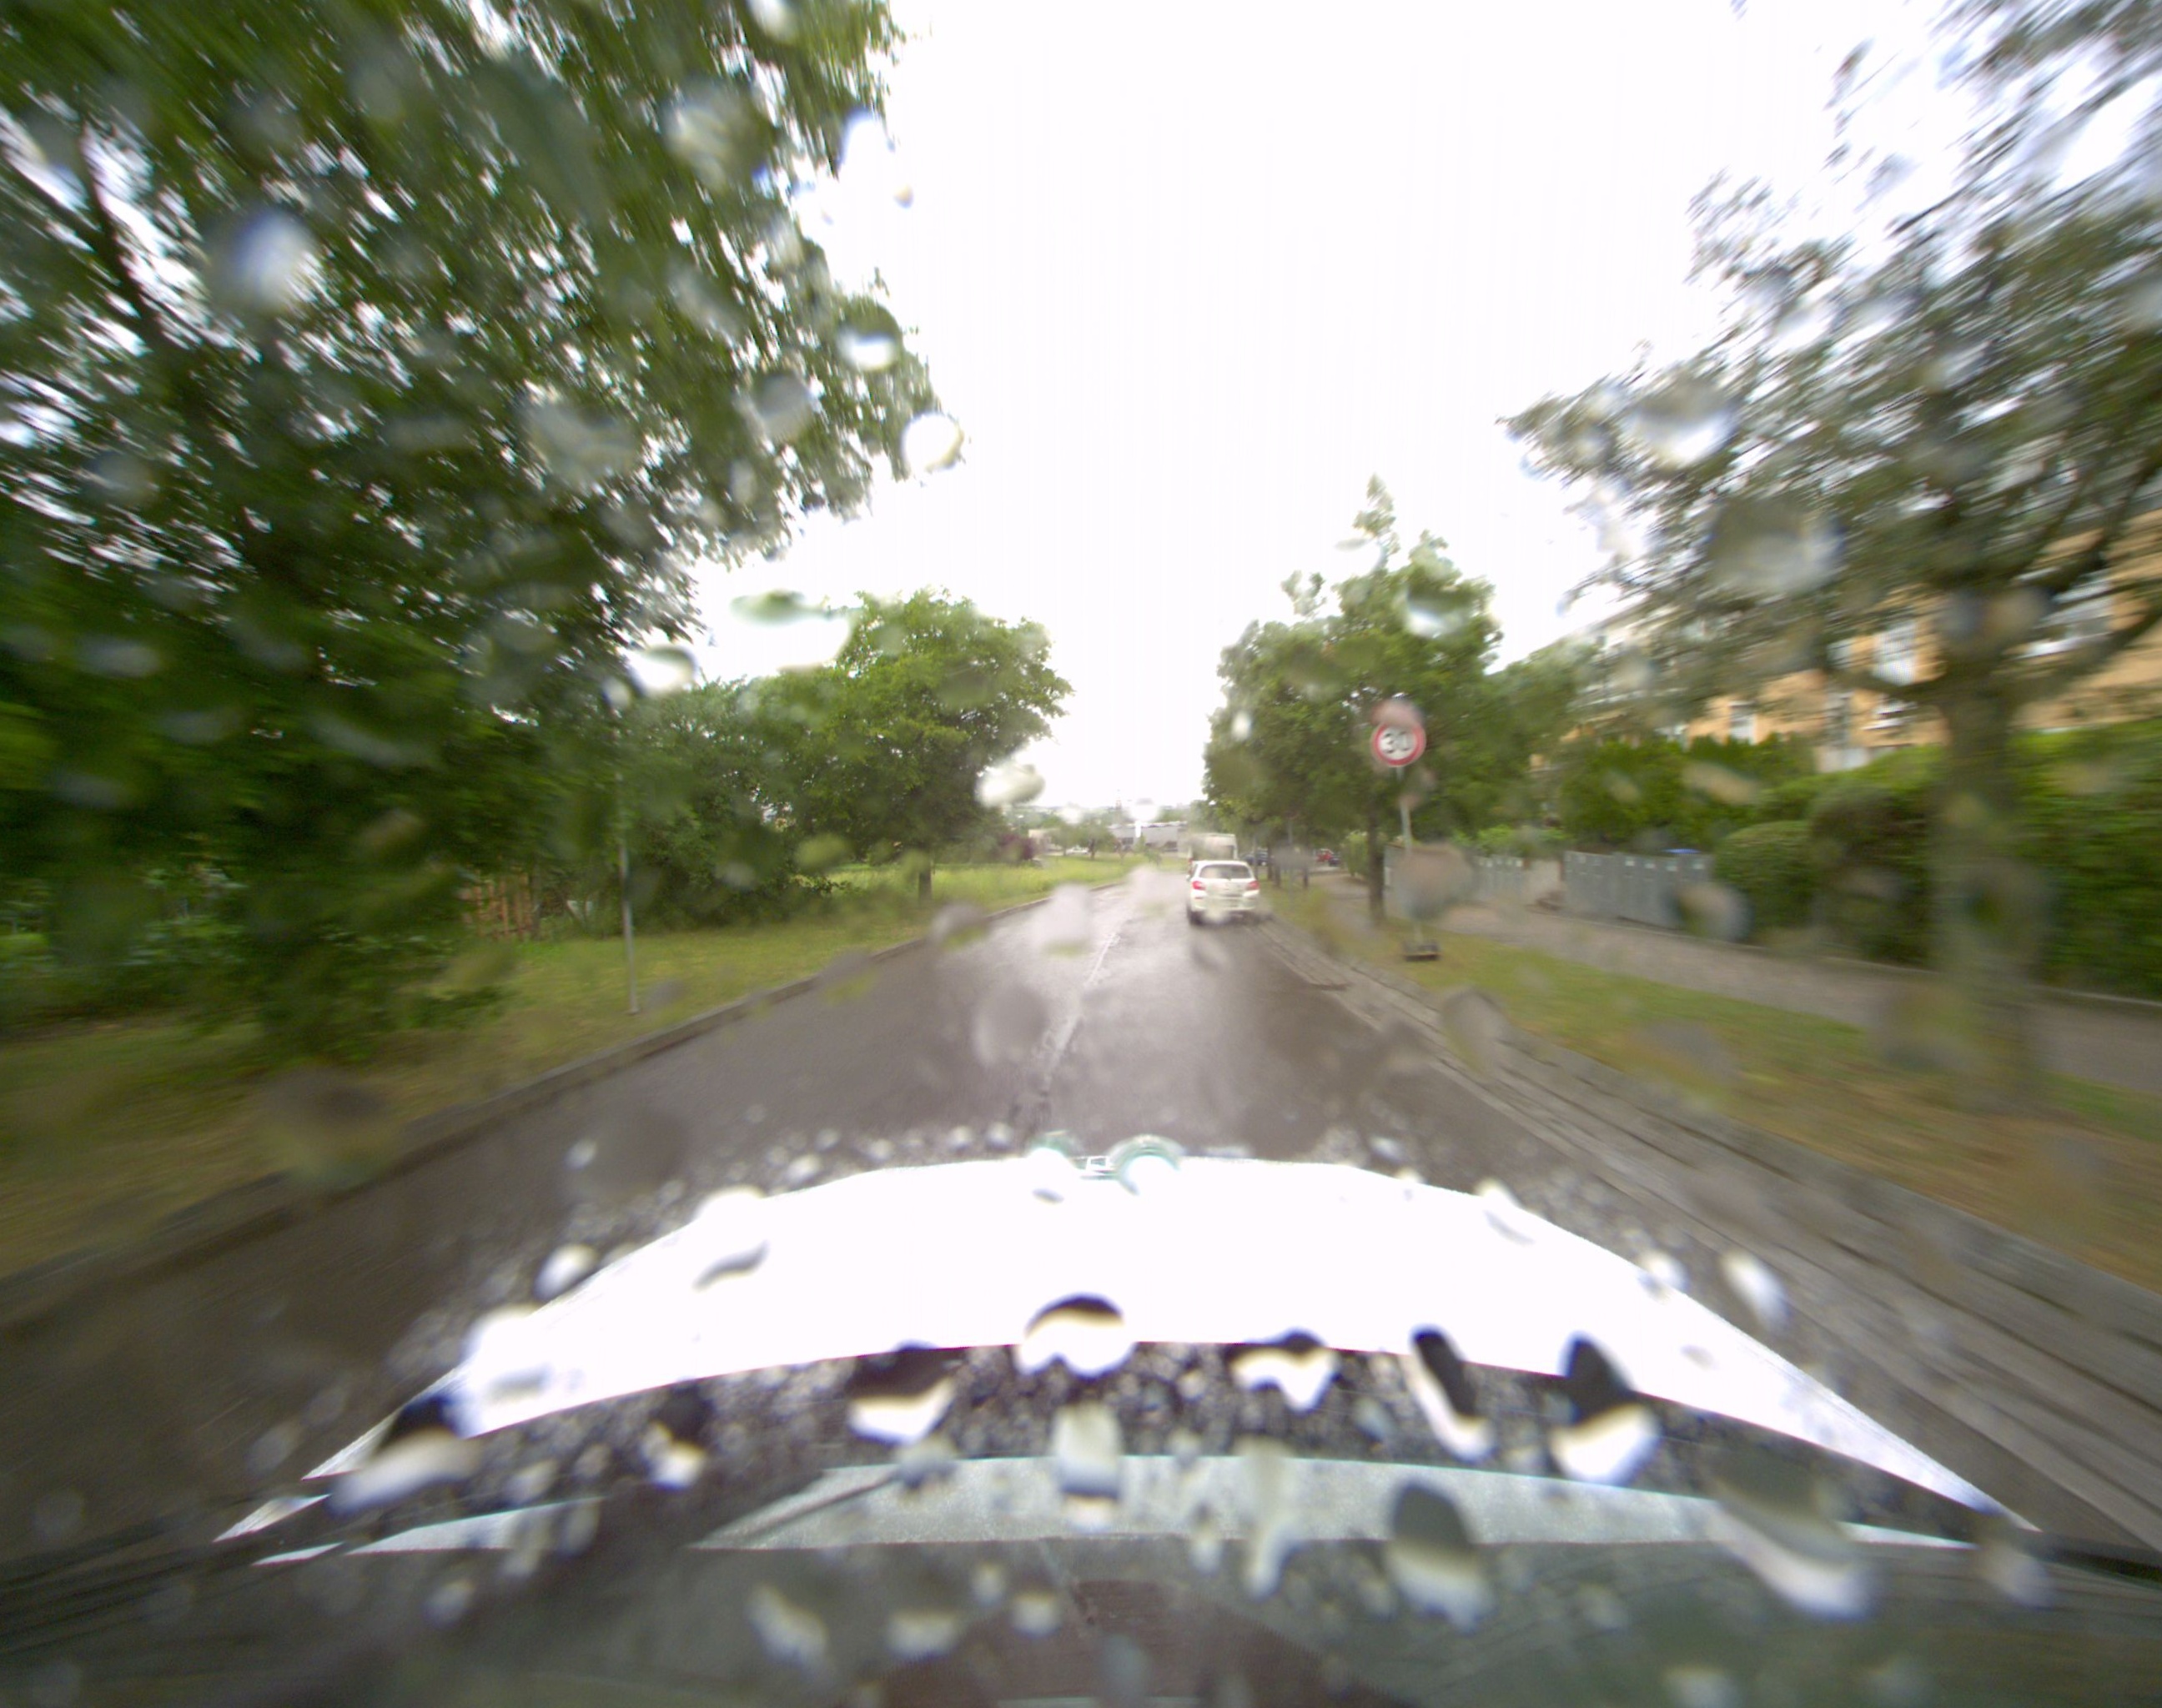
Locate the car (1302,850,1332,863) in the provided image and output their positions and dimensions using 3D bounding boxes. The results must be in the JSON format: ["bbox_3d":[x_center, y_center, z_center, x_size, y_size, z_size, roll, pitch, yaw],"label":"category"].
[{"bbox_3d":[31.669,0.339,109.343,3.527,1.606,1.703,-2,-1,29],"label":"car"}]

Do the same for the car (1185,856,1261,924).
[{"bbox_3d":[3.424,0.802,20.097,1.597,1.502,3.732,0,0,6],"label":"car"}]

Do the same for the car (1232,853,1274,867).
[{"bbox_3d":[18.853,0.679,89.198,4.126,1.355,1.873,-2,-1,26],"label":"car"}]

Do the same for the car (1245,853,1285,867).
[{"bbox_3d":[20.502,0.646,90.780,3.950,1.361,1.865,-2,-1,26],"label":"car"}]

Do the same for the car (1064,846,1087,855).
[{"bbox_3d":[-1.152,-0.650,163.883,4.284,1.701,1.782,1,2,-27],"label":"car"}]

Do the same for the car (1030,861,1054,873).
[{"bbox_3d":[-5.692,1.910,119.251,1.788,1.596,3.960,-2,1,-32],"label":"car"}]

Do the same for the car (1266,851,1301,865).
[{"bbox_3d":[24.377,0.467,98.110,3.834,1.547,1.784,-1,0,25],"label":"car"}]

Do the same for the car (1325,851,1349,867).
[{"bbox_3d":[28.581,0.542,91.010,1.670,1.551,3.721,1,2,32],"label":"car"}]

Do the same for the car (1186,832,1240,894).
[{"bbox_3d":[5.788,0.362,35.433,2.104,2.467,5.525,0,0,10],"label":"car"}]
